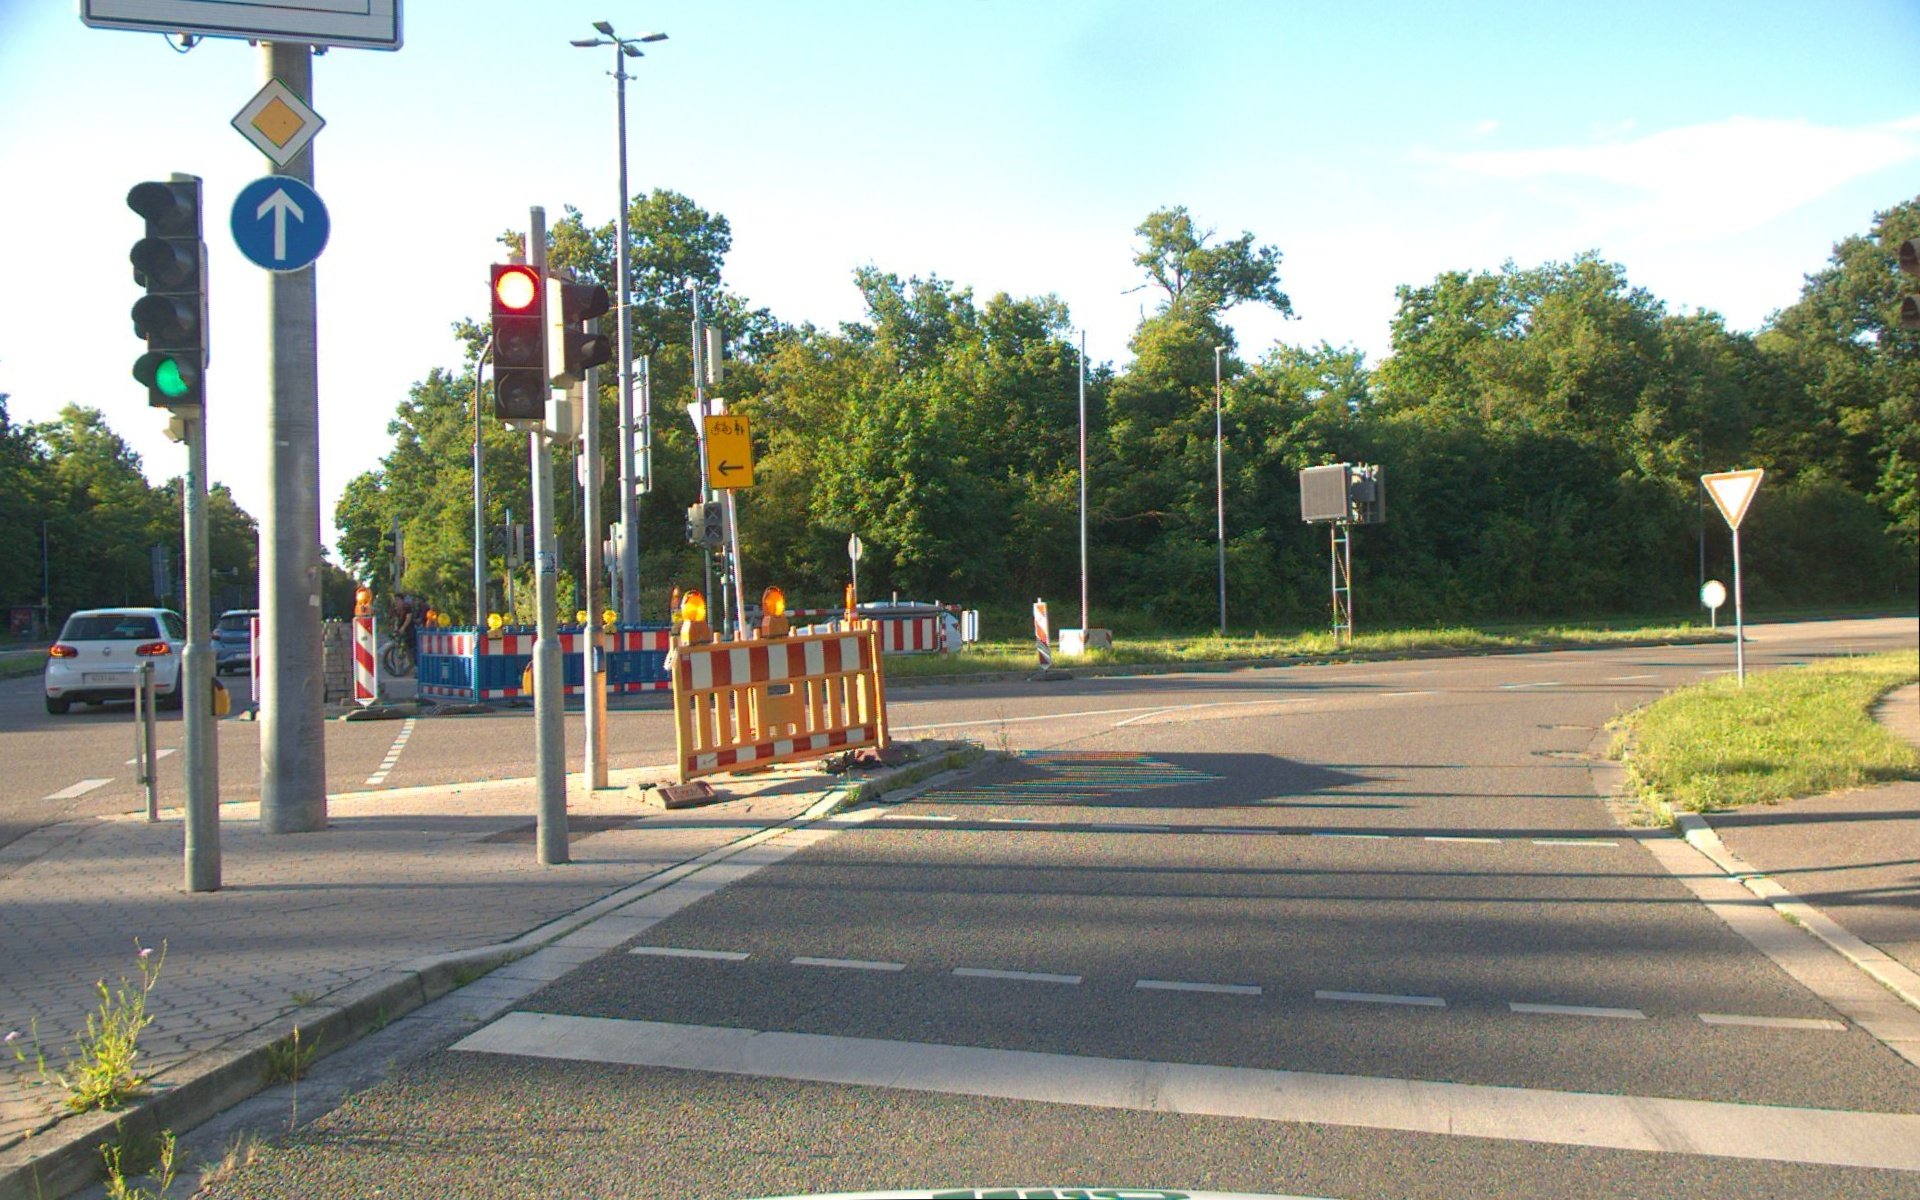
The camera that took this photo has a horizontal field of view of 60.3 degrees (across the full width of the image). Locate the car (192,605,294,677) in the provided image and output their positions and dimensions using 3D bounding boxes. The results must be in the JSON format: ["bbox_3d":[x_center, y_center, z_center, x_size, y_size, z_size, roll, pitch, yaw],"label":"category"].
[{"bbox_3d":[-16.942,0.937,39.261,1.965,1.563,3.976,-1,0,-20],"label":"car"}]

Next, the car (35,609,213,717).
[{"bbox_3d":[-12.436,0.879,24.843,1.912,1.439,3.976,-1,0,-20],"label":"car"}]

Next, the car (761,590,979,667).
[{"bbox_3d":[-2.037,0.627,38.219,4.785,1.608,1.973,-1,0,-38],"label":"car"}]

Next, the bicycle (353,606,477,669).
[{"bbox_3d":[-12.592,0.844,38.280,0.951,1.407,2.625,0,0,41],"label":"bicycle"}]

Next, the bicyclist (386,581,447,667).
[{"bbox_3d":[-12.590,0.541,38.294,0.951,1.963,1.010,0,-1,41],"label":"bicyclist"}]
